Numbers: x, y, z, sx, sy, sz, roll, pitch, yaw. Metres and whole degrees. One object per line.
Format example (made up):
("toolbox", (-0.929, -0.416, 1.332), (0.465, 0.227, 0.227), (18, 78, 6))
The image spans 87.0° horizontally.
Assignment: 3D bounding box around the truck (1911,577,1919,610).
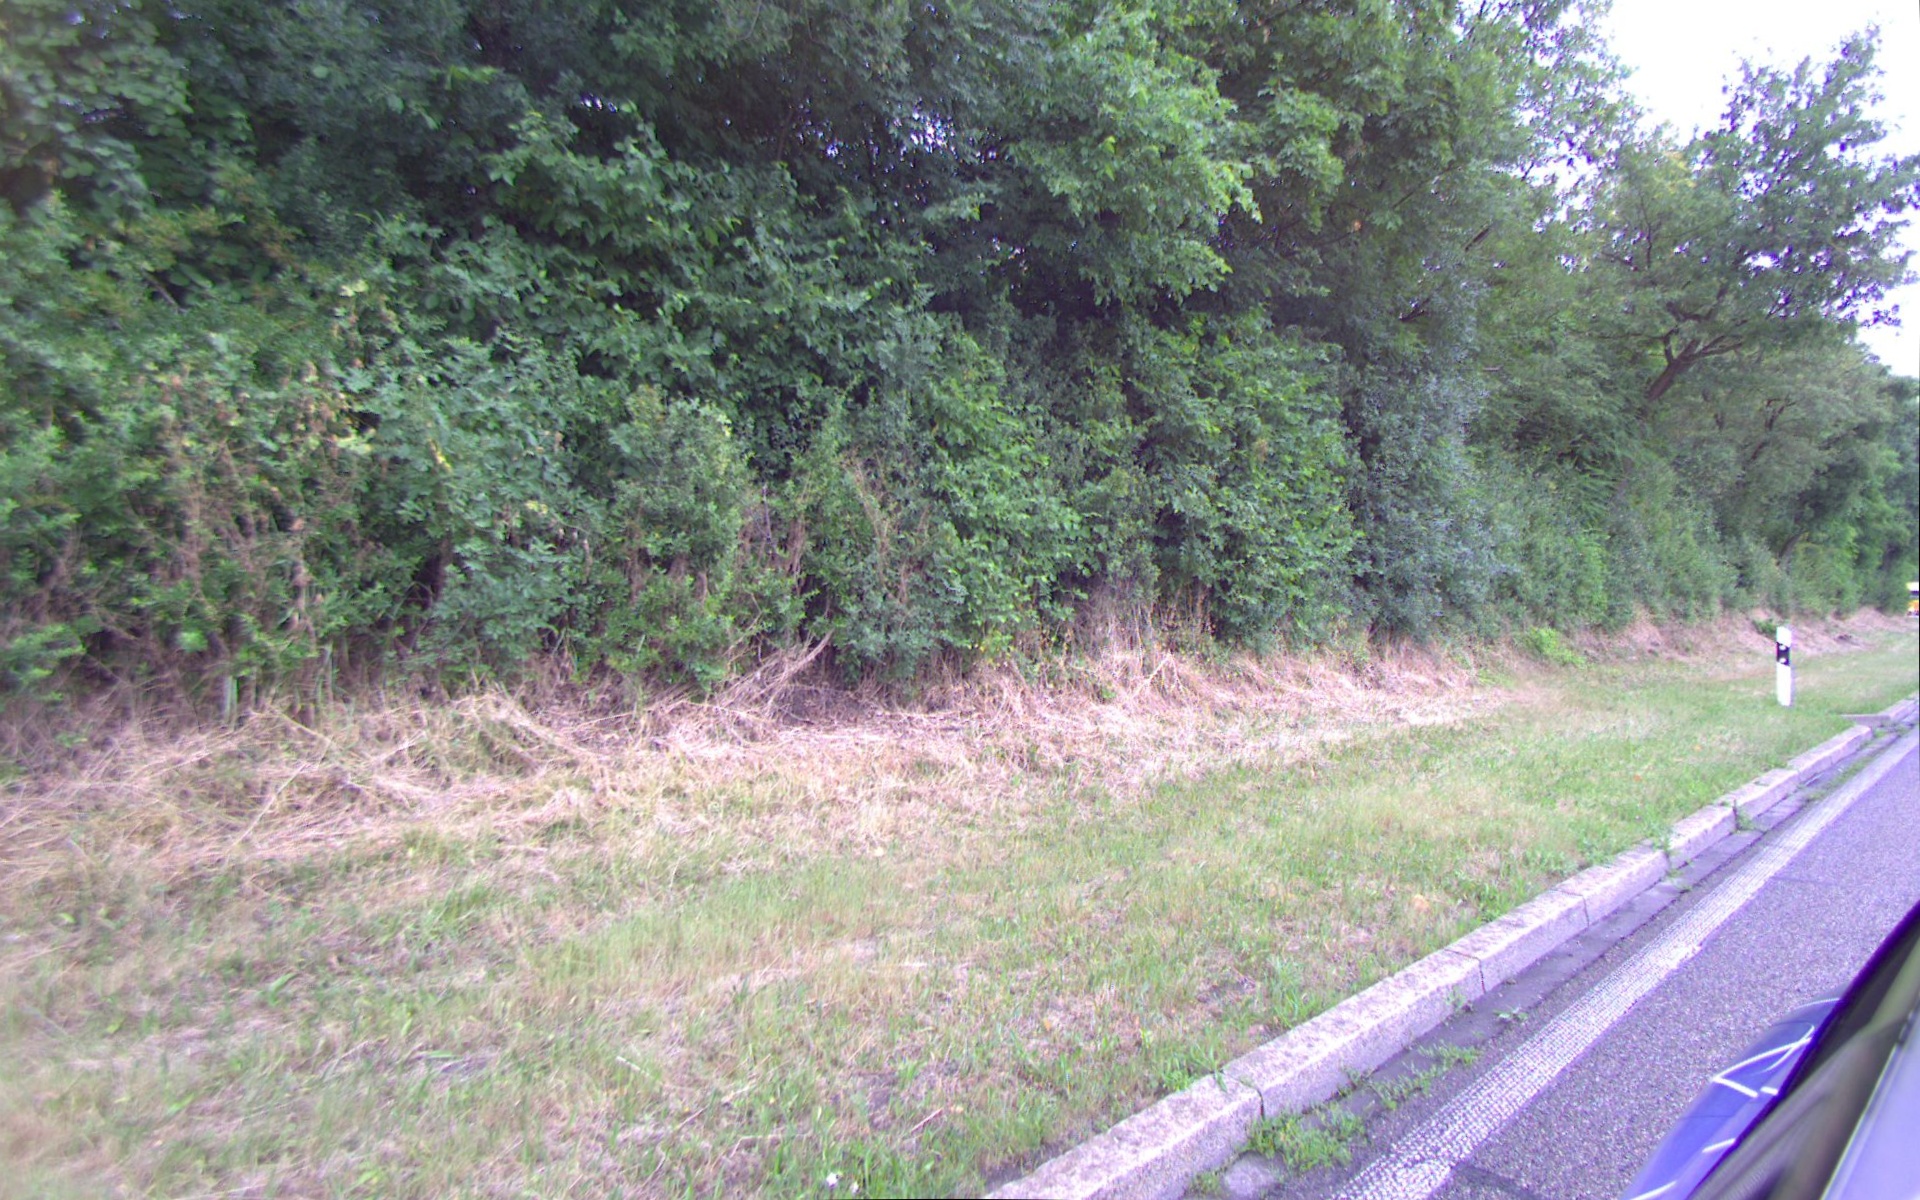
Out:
("truck", (119.614, -0.733, 124.981), (2.534, 4.023, 6.384), (1, 1, 38))
